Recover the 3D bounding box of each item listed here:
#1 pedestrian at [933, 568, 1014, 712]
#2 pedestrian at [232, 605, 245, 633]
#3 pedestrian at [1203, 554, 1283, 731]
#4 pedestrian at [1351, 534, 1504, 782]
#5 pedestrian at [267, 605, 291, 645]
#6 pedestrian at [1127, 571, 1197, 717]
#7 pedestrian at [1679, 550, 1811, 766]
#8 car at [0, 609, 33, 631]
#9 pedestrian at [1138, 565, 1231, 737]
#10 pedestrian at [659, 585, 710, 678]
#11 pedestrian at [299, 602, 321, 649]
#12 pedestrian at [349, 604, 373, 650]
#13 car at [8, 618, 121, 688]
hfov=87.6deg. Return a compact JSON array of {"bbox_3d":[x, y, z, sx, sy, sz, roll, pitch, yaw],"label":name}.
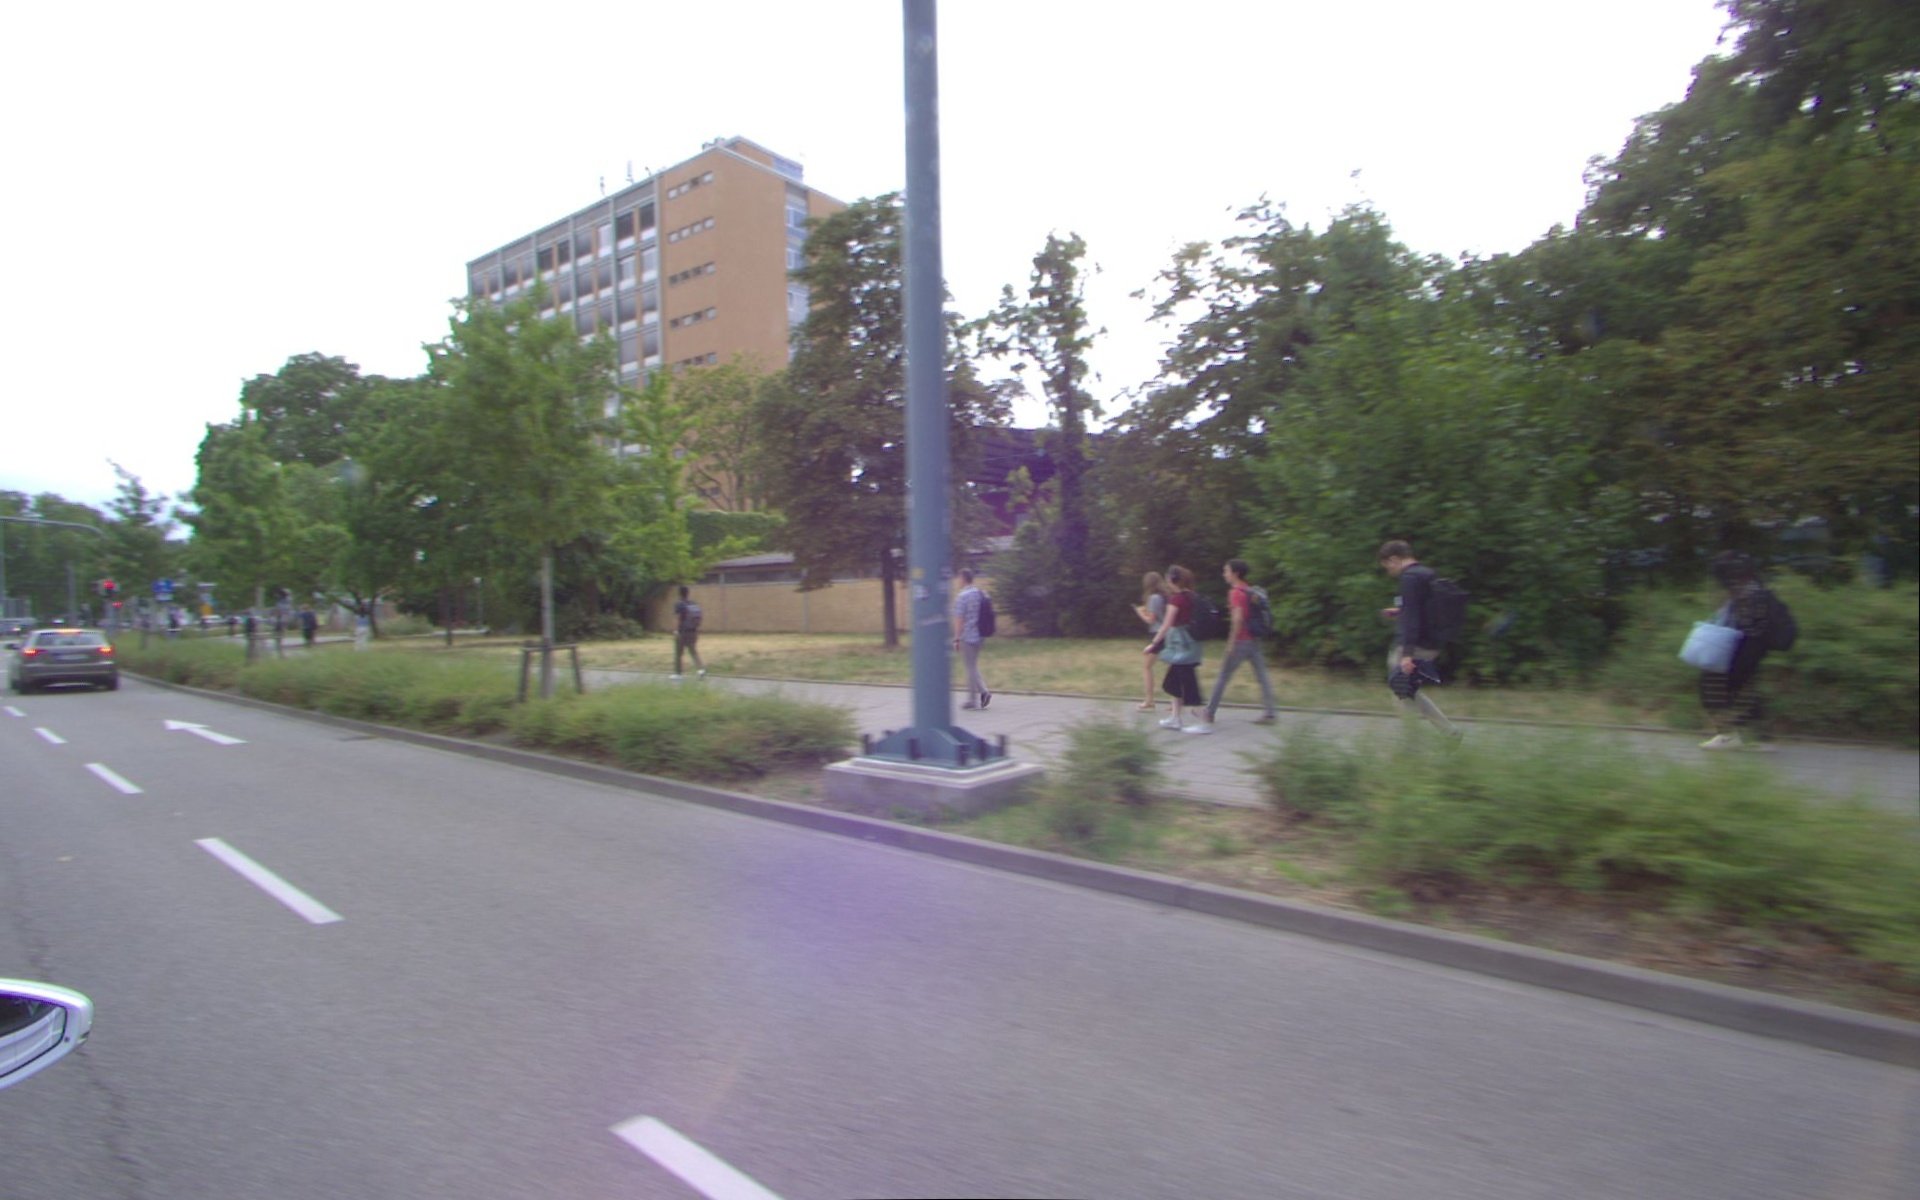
[{"bbox_3d":[0.168,0.487,12.713,0.805,1.759,0.615,0,2,43],"label":"pedestrian"},{"bbox_3d":[-53.018,1.413,73.568,0.590,2.040,0.611,0,1,41],"label":"pedestrian"},{"bbox_3d":[2.971,0.433,10.519,0.657,1.787,0.481,0,2,43],"label":"pedestrian"},{"bbox_3d":[3.743,0.434,8.025,0.944,1.846,0.689,0,1,43],"label":"pedestrian"},{"bbox_3d":[-29.493,1.075,43.376,0.794,1.736,0.760,-2,1,-35],"label":"pedestrian"},{"bbox_3d":[2.358,0.498,11.676,0.646,1.655,0.465,0,2,43],"label":"pedestrian"},{"bbox_3d":[6.225,0.431,7.944,0.777,1.605,0.632,0,1,43],"label":"pedestrian"},{"bbox_3d":[-94.658,1.985,100.010,1.970,2.040,3.981,-1,1,-28],"label":"car"},{"bbox_3d":[2.277,0.496,10.167,0.745,1.677,0.552,0,2,43],"label":"pedestrian"},{"bbox_3d":[-5.178,0.585,18.807,0.740,1.705,0.584,0,2,43],"label":"pedestrian"},{"bbox_3d":[-24.183,0.950,37.258,0.639,1.736,0.558,-2,1,-33],"label":"pedestrian"},{"bbox_3d":[-19.621,0.873,32.814,0.650,1.490,0.558,-2,1,-31],"label":"pedestrian"},{"bbox_3d":[-21.236,1.188,23.708,3.696,1.477,1.714,-1,0,44],"label":"car"}]
